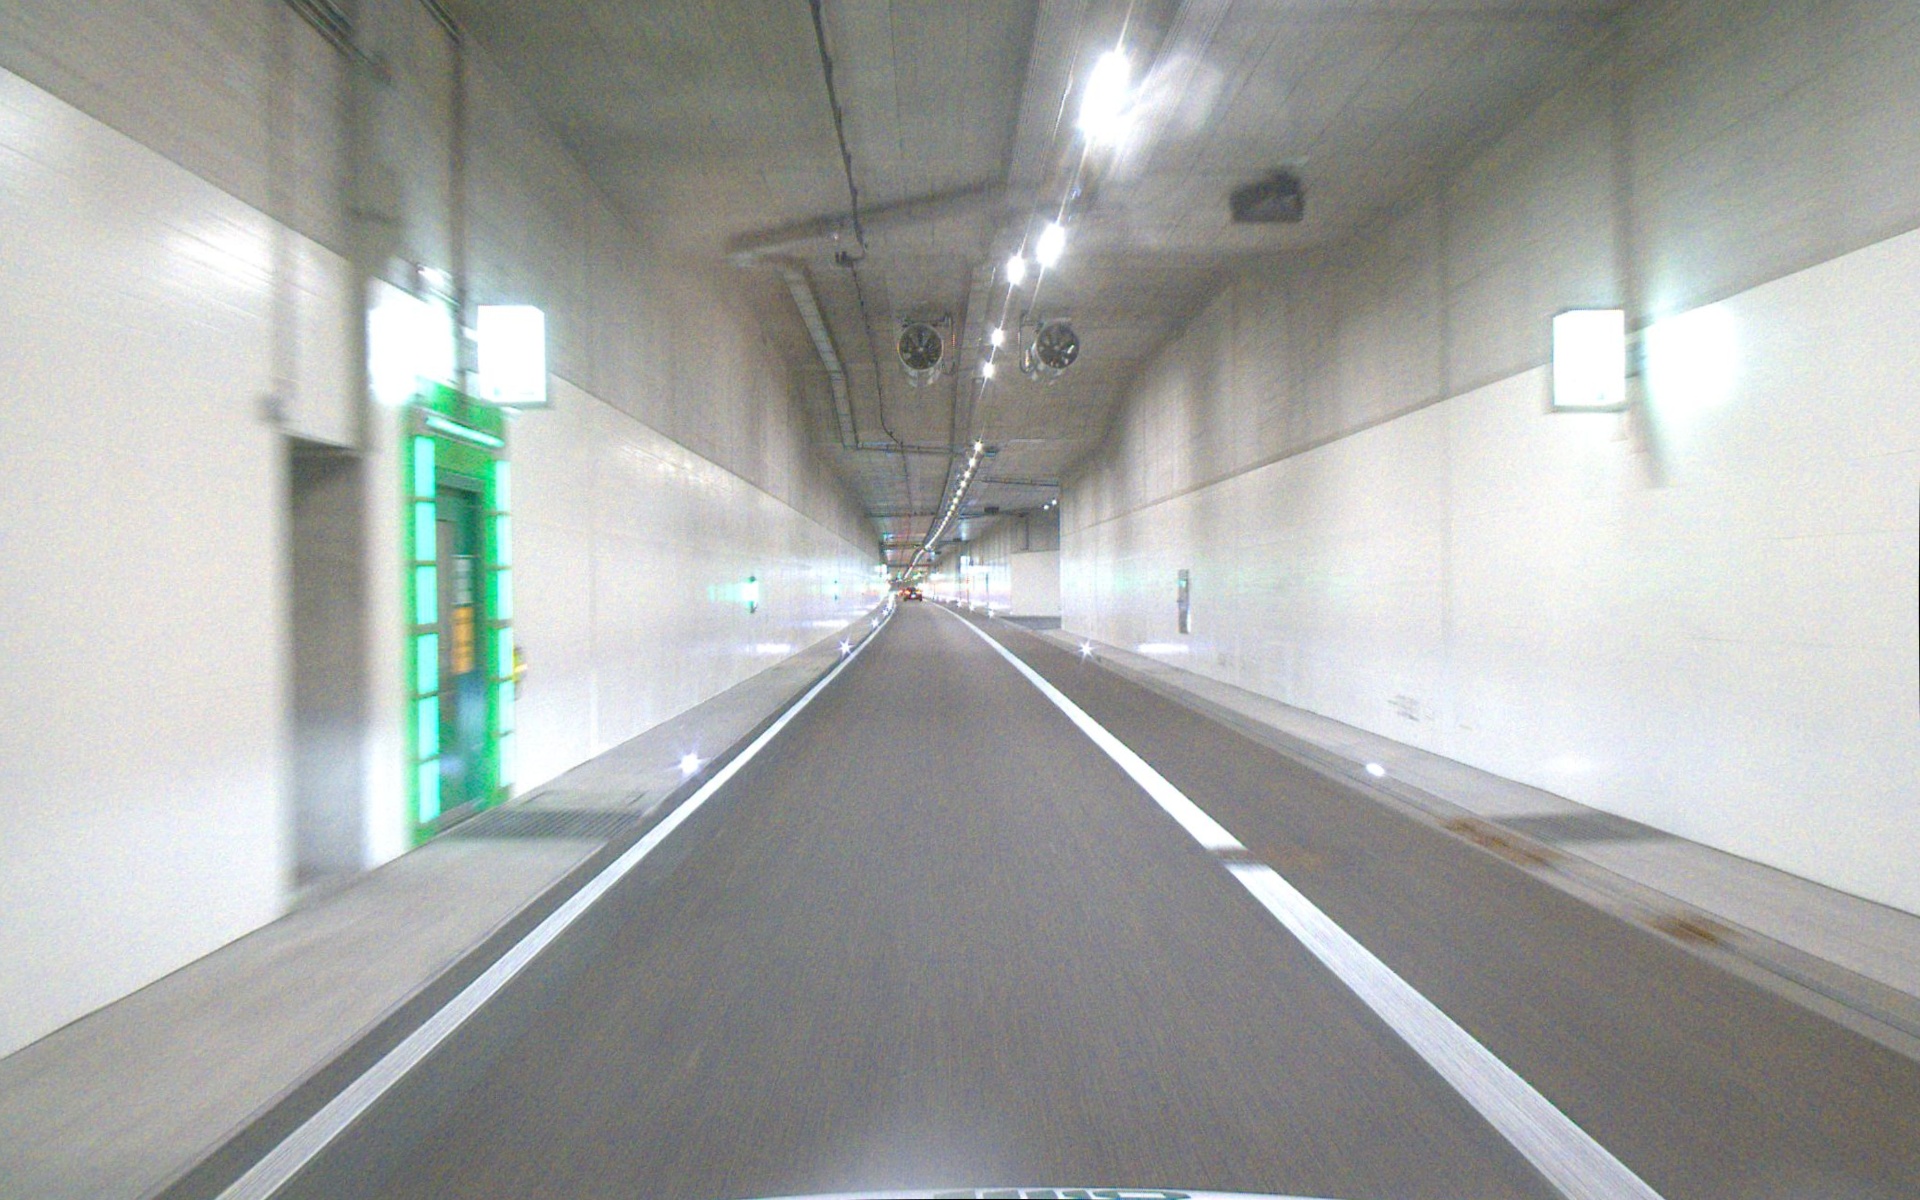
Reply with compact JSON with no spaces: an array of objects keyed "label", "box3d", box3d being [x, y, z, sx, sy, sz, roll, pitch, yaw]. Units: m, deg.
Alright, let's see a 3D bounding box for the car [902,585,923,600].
[{"label":"car","box3d":[-4.726,-0.747,164.487,1.954,1.445,3.998,1,0,-3]}]
